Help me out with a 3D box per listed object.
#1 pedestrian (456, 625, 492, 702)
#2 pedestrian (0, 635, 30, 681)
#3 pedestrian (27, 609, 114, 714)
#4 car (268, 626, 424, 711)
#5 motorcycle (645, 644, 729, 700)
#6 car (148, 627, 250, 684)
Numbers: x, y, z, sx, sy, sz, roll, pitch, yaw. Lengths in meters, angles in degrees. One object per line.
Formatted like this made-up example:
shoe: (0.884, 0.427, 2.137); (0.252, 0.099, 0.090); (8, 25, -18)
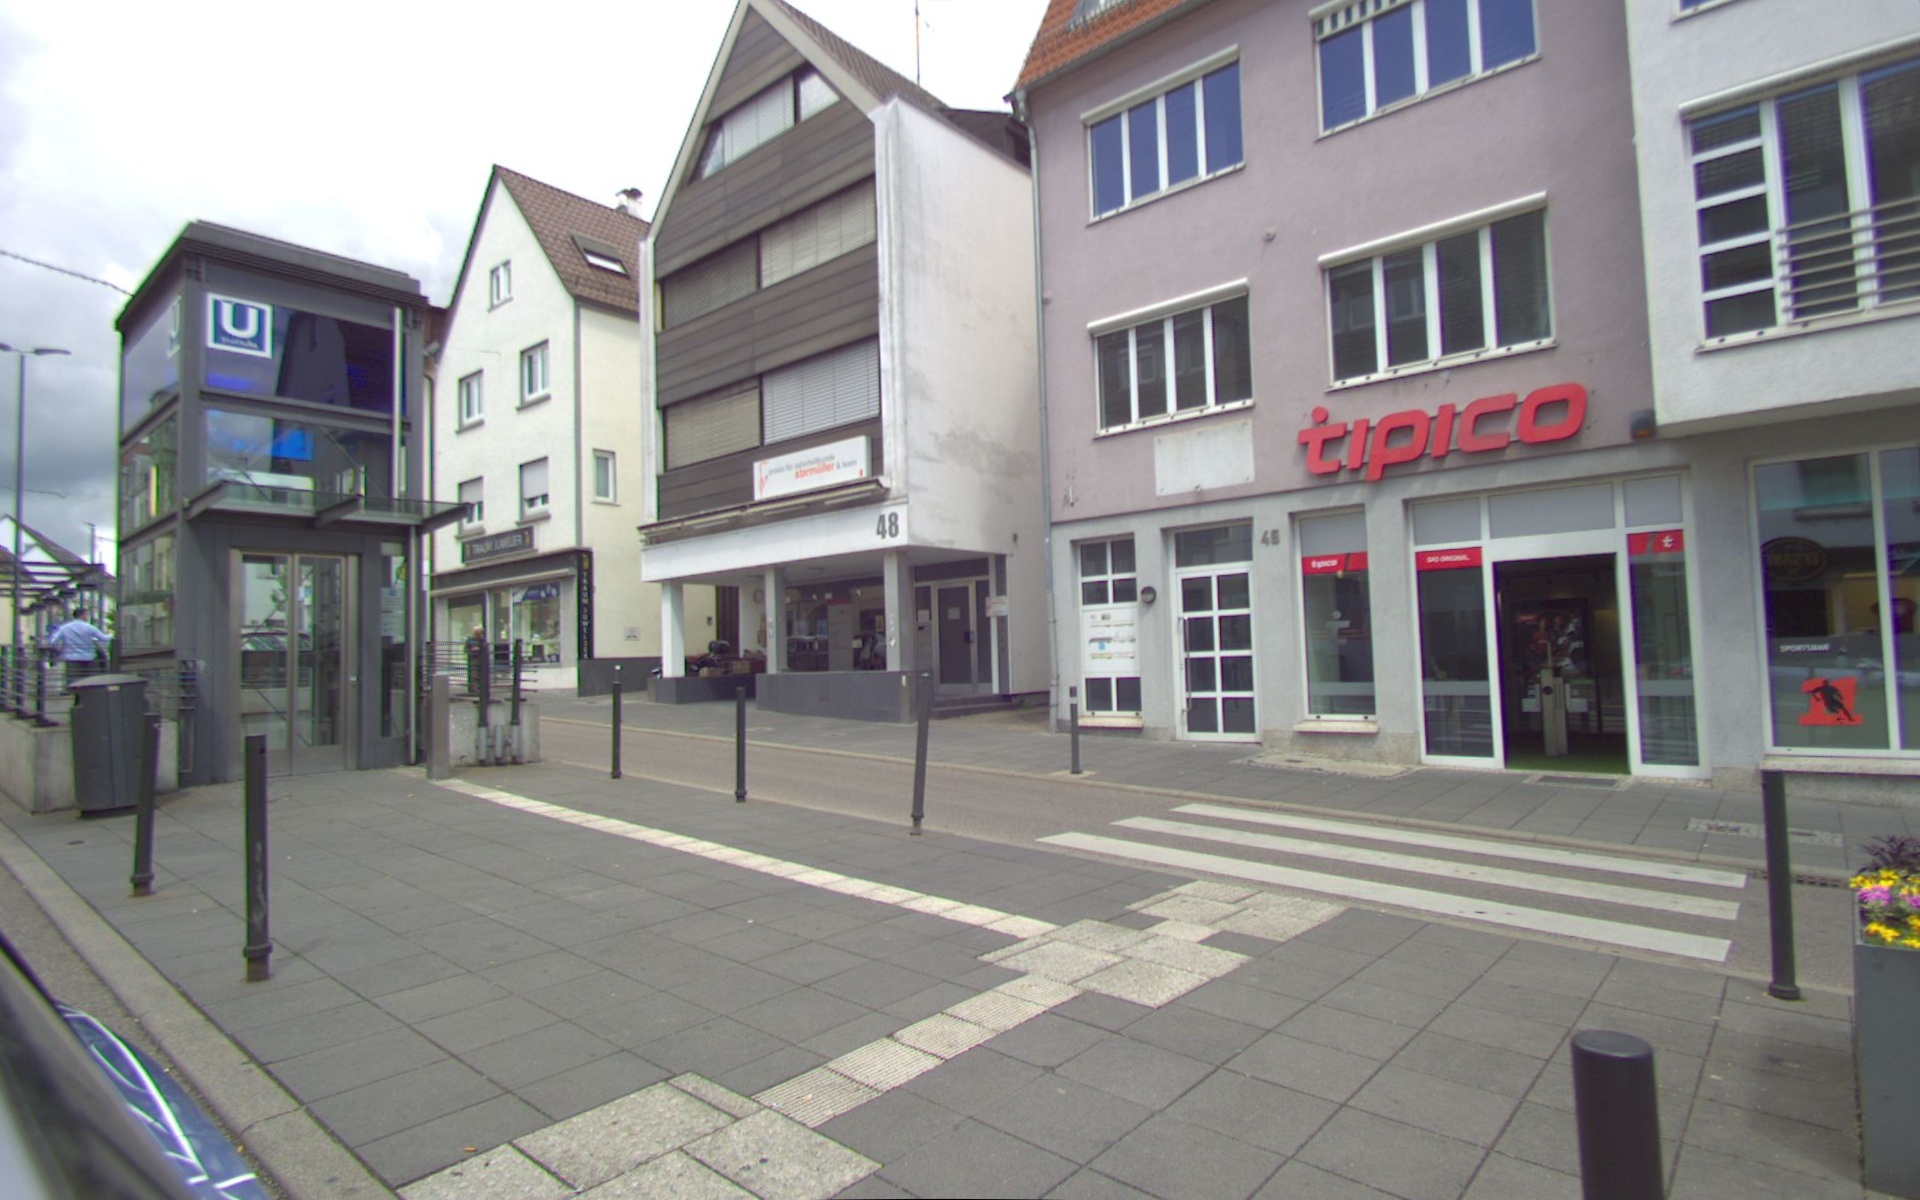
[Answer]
pedestrian: (-11.229, 1.446, 23.372); (0.513, 1.729, 0.584); (-1, 0, 41)
pedestrian: (-35.106, 2.151, 37.475); (0.648, 1.642, 0.743); (-1, 0, 1)
pedestrian: (-16.436, 1.101, 18.697); (0.931, 1.855, 1.083); (-1, 0, 41)
car: (-13.218, 1.388, 21.691); (4.119, 1.583, 1.662); (-1, 0, 41)
motorcycle: (-6.252, 1.627, 23.248); (0.633, 1.149, 1.831); (-1, 0, 39)
car: (-23.654, 1.661, 31.404); (4.119, 1.583, 1.662); (-1, 0, 41)
